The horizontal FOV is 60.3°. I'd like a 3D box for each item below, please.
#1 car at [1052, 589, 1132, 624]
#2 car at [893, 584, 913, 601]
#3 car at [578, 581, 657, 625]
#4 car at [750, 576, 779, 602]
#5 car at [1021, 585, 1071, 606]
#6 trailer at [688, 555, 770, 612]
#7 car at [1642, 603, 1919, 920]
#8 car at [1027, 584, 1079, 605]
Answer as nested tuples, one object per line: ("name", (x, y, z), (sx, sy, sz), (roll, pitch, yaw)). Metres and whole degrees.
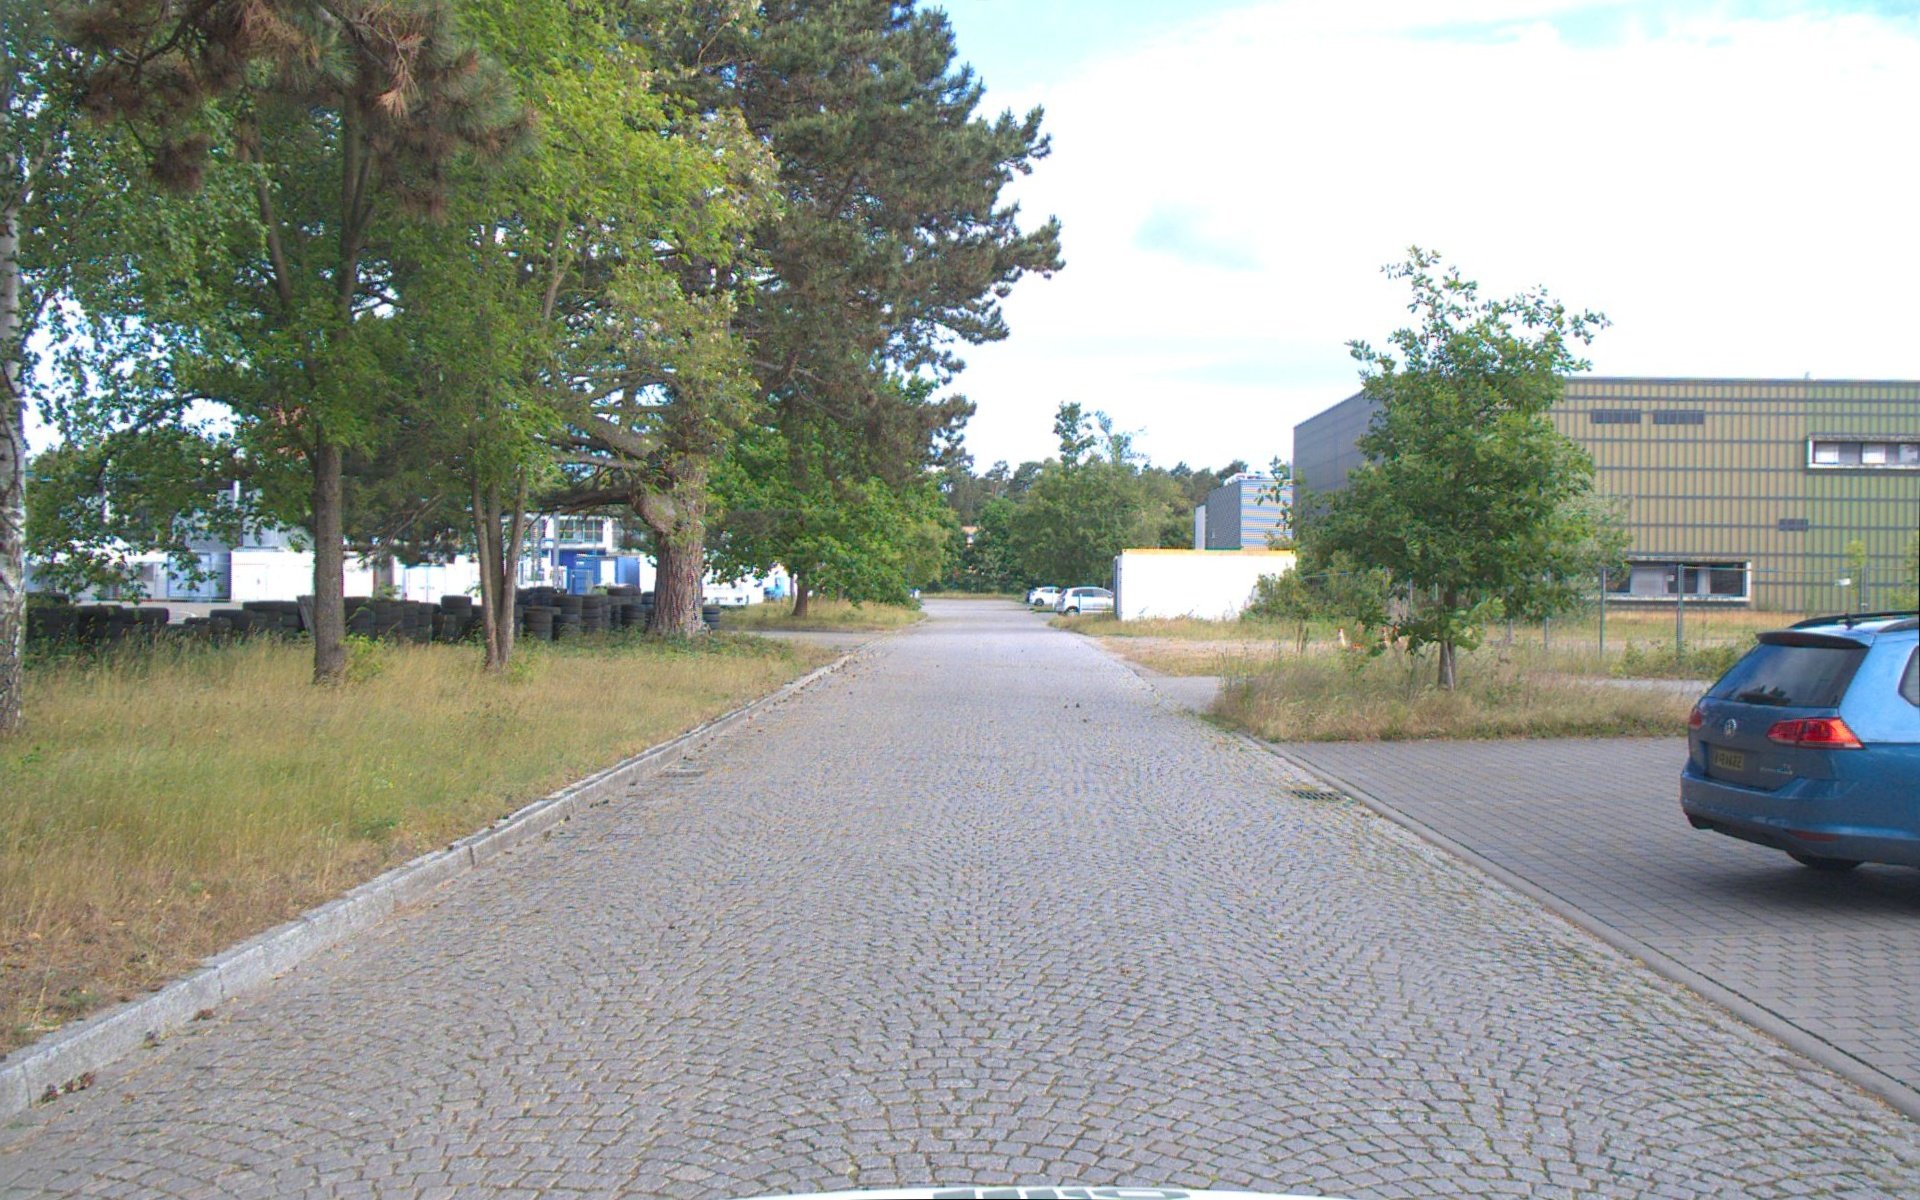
("car", (6.568, 0.314, 82.556), (3.772, 1.683, 1.685), (0, 0, -2))
("car", (-5.091, -0.677, 147.845), (1.700, 1.495, 4.044), (0, 0, -2))
("car", (-11.950, 0.095, 57.893), (1.729, 1.478, 3.491), (0, 0, 6))
("car", (-16.077, -0.929, 136.104), (1.886, 2.083, 4.599), (0, 0, -2))
("car", (6.950, -0.356, 134.265), (3.907, 1.629, 1.728), (0, 0, -2))
("trailer", (-13.226, -0.941, 95.354), (3.093, 3.121, 8.787), (0, 1, 2))
("car", (6.309, 0.746, 9.013), (4.431, 1.468, 1.822), (-1, 1, -3))
("car", (7.216, -0.430, 128.708), (3.942, 1.528, 1.548), (0, 0, 1))
